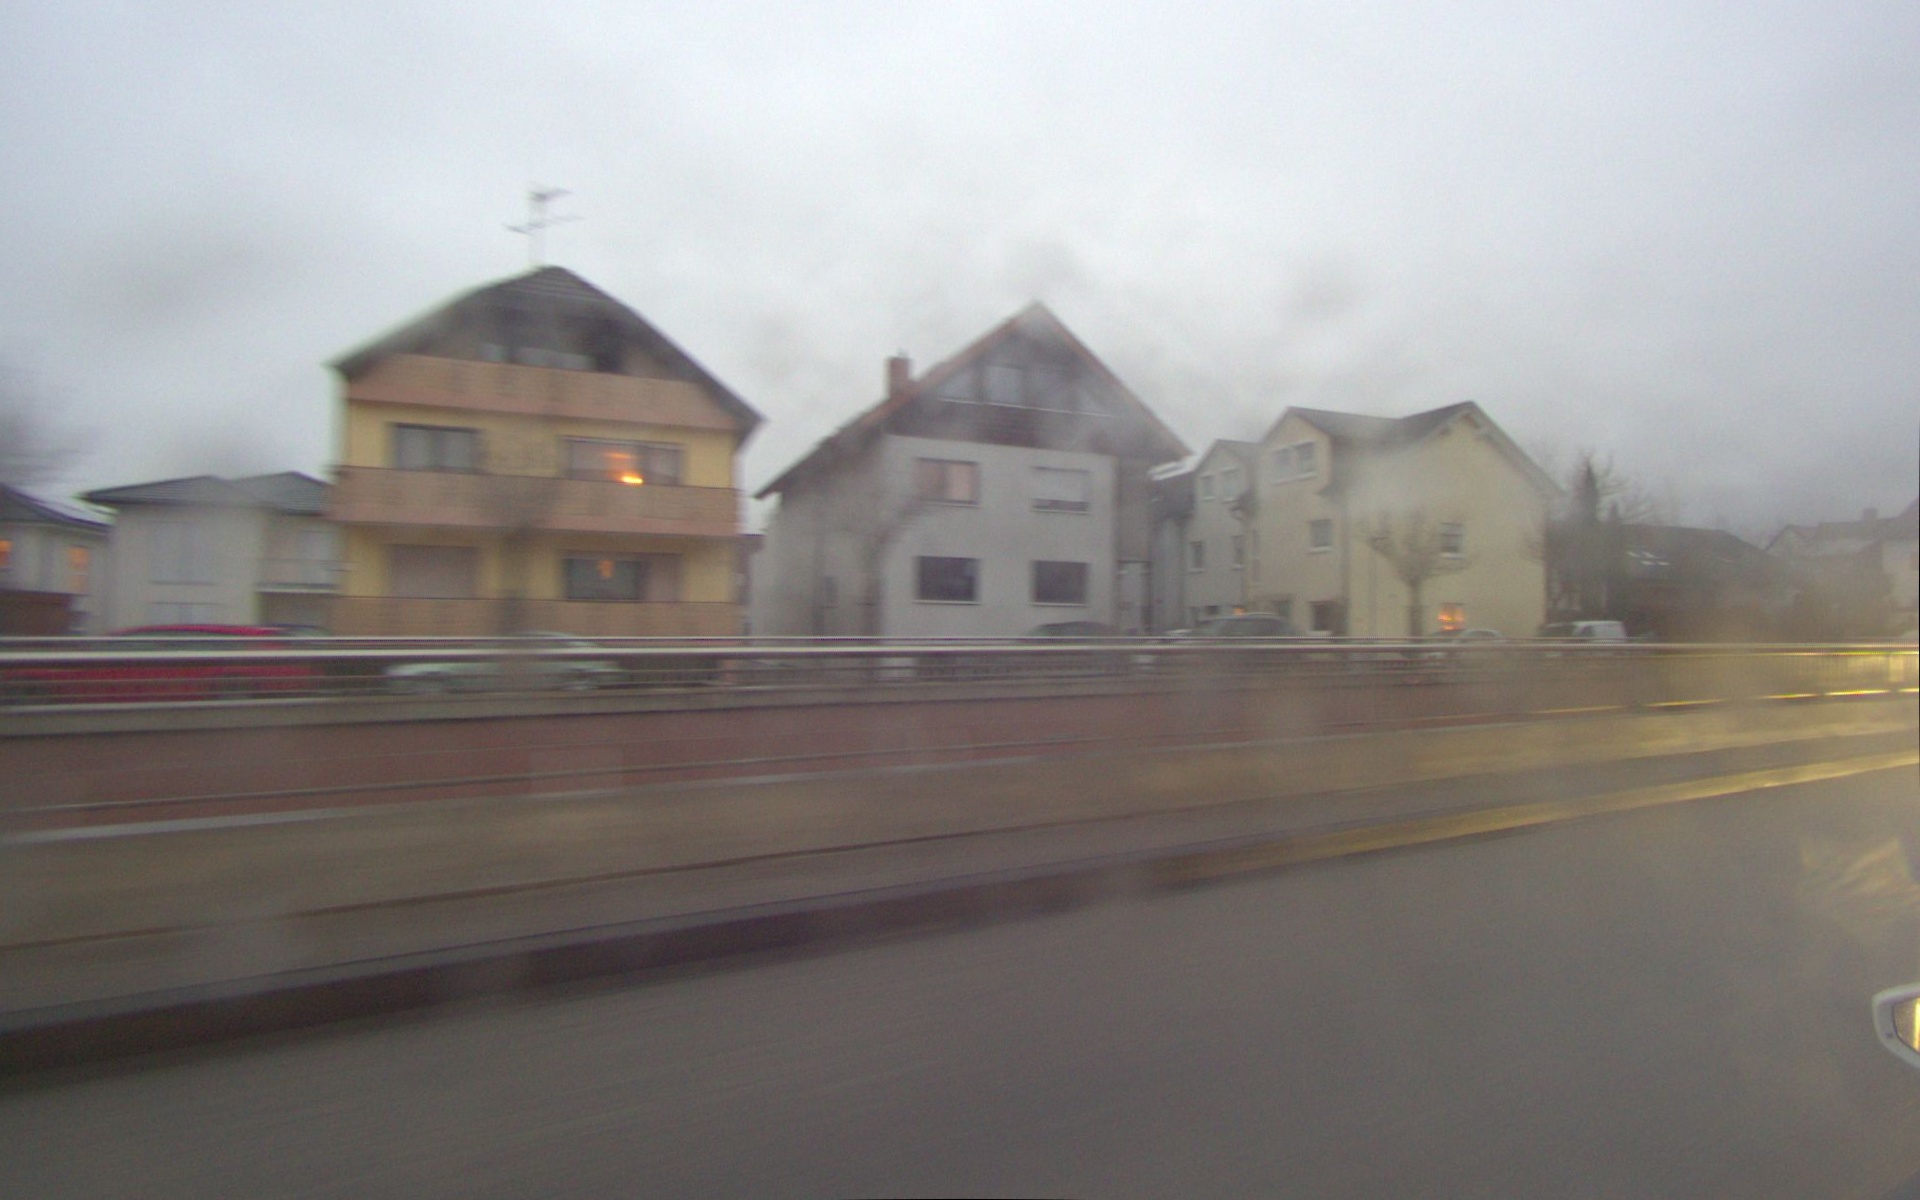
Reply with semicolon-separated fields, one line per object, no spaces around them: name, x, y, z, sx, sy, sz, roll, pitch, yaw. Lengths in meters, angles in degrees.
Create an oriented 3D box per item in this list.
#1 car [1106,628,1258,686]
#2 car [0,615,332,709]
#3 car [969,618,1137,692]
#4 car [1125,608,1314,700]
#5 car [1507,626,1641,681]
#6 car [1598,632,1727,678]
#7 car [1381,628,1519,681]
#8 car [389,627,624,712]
car;6.262;1.587;28.320;3.979;1.543;1.763;2;-2;-26
car;-13.708;1.017;17.366;4.585;1.461;1.871;1;-1;-25
car;2.412;1.384;26.007;3.947;1.704;1.852;1;1;-26
car;5.645;1.149;21.753;3.815;1.827;1.791;2;-2;-30
car;21.759;1.870;35.594;4.440;1.802;1.869;0;-3;-25
car;26.401;2.062;37.738;4.437;1.593;1.870;0;-3;-23
car;16.148;1.767;33.108;4.167;1.619;1.869;0;-3;-25
car;-8.978;1.322;20.088;4.089;1.525;1.870;1;-1;-26
